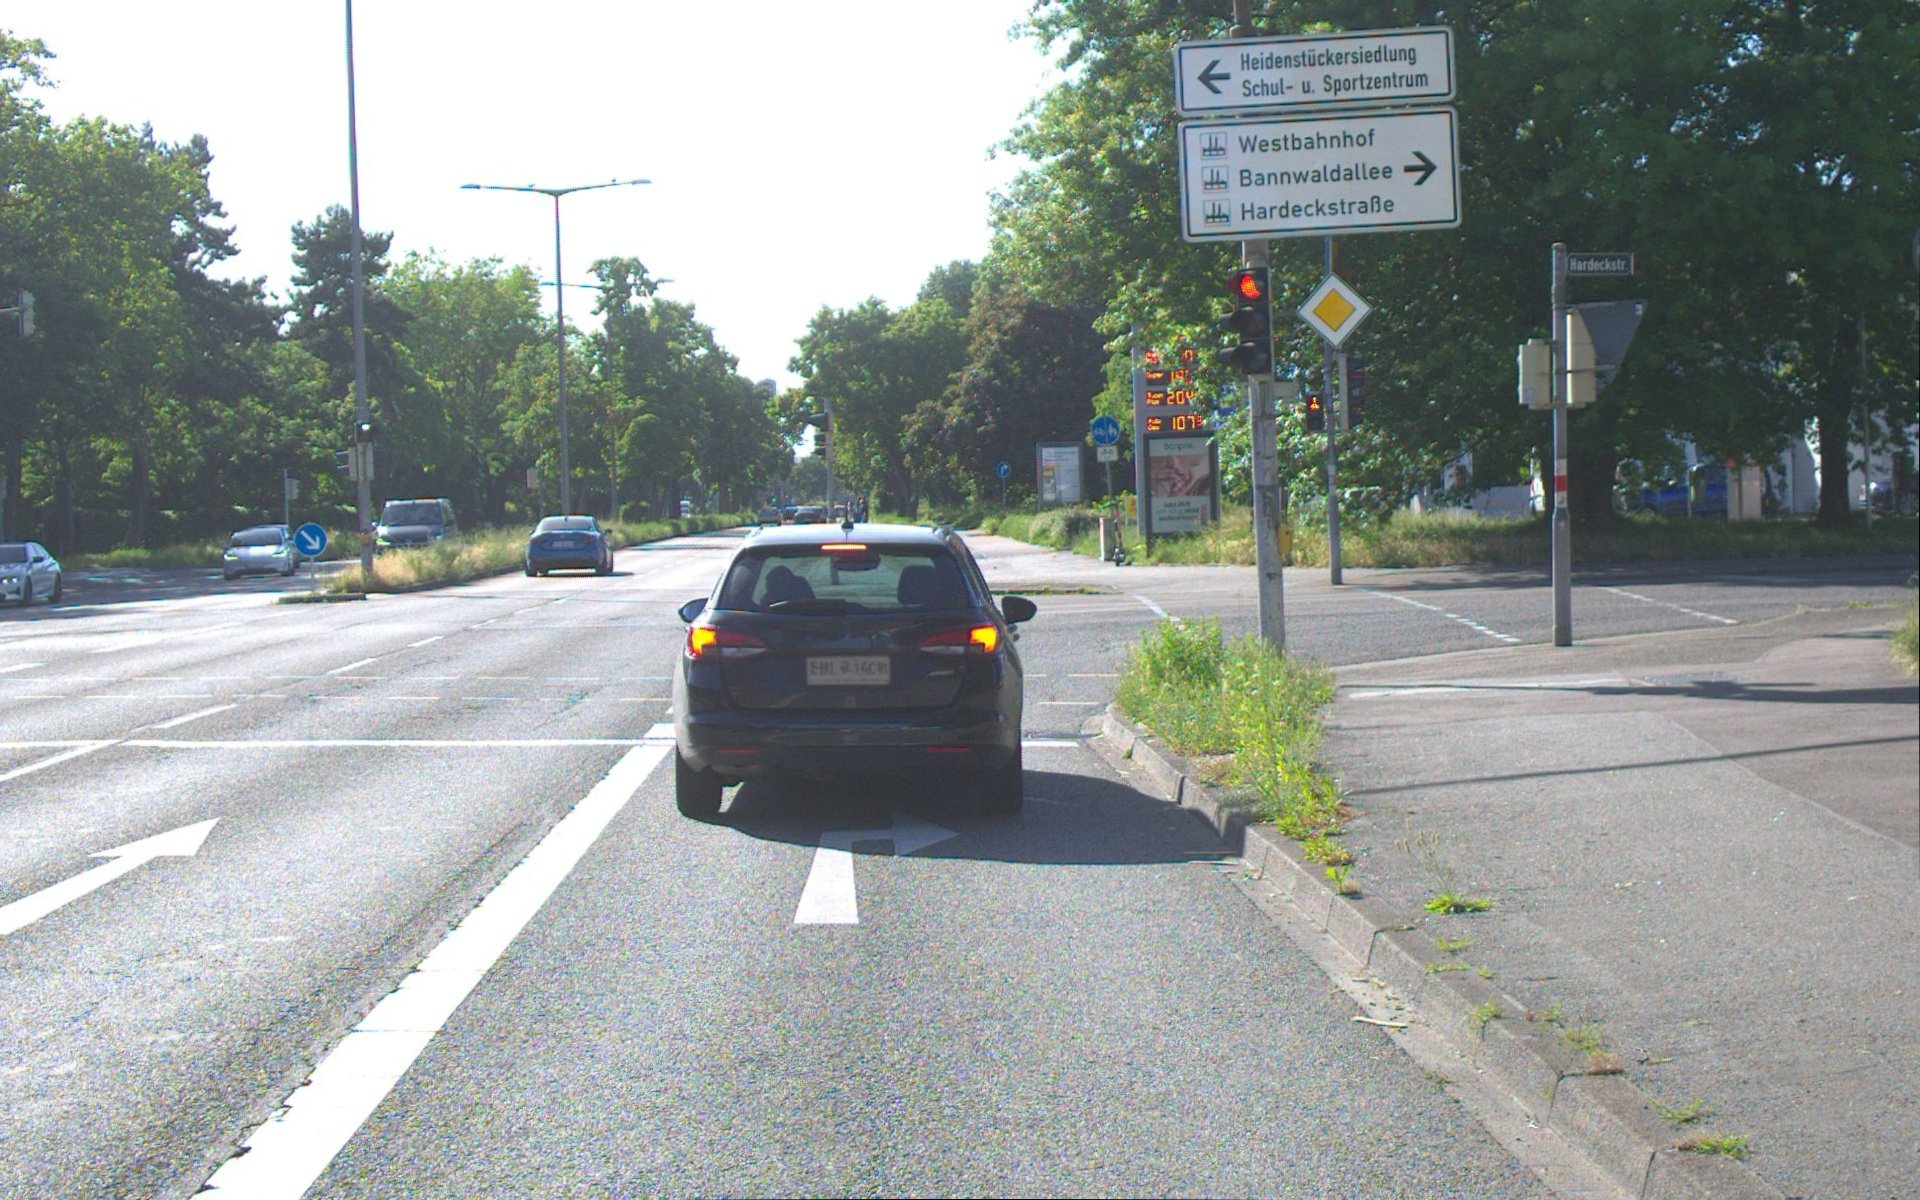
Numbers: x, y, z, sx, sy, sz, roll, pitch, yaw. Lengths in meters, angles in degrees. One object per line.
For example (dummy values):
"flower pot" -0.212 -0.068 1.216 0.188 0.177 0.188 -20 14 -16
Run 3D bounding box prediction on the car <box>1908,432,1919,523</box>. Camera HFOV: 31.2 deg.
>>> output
"car" 19.109 -2.169 61.406 3.835 1.606 1.806 0 1 -20

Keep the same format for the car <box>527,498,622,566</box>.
"car" -9.215 -1.617 82.422 1.888 1.546 4.000 -2 1 -1

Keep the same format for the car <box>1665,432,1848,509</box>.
"car" 18.138 -2.938 78.388 3.711 1.679 1.704 1 1 -4

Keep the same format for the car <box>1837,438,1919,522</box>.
"car" 18.280 -2.174 63.153 3.835 1.477 1.806 0 1 -20

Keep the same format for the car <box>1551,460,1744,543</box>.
"car" 14.490 -2.057 72.451 3.711 1.679 1.704 0 1 -27

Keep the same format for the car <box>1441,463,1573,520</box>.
"car" 16.752 -3.332 105.395 3.711 1.679 1.704 1 1 -4

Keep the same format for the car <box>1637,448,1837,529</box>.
"car" 15.854 -2.250 70.104 3.836 1.558 1.805 0 1 -33

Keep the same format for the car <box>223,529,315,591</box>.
"car" -19.976 -1.171 99.495 1.864 1.678 4.001 -2 2 -1

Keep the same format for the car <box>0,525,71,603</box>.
"car" -21.296 -0.821 76.707 1.864 1.678 4.261 1 1 -1

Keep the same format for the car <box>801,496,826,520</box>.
"car" -10.240 -6.444 240.548 1.732 1.579 3.841 1 1 -3

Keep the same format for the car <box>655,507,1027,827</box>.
"car" -0.617 0.288 18.288 1.755 1.504 3.809 -1 1 -2

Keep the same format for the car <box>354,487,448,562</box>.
"car" -15.329 -2.067 94.449 1.993 2.007 4.000 1 1 -1
